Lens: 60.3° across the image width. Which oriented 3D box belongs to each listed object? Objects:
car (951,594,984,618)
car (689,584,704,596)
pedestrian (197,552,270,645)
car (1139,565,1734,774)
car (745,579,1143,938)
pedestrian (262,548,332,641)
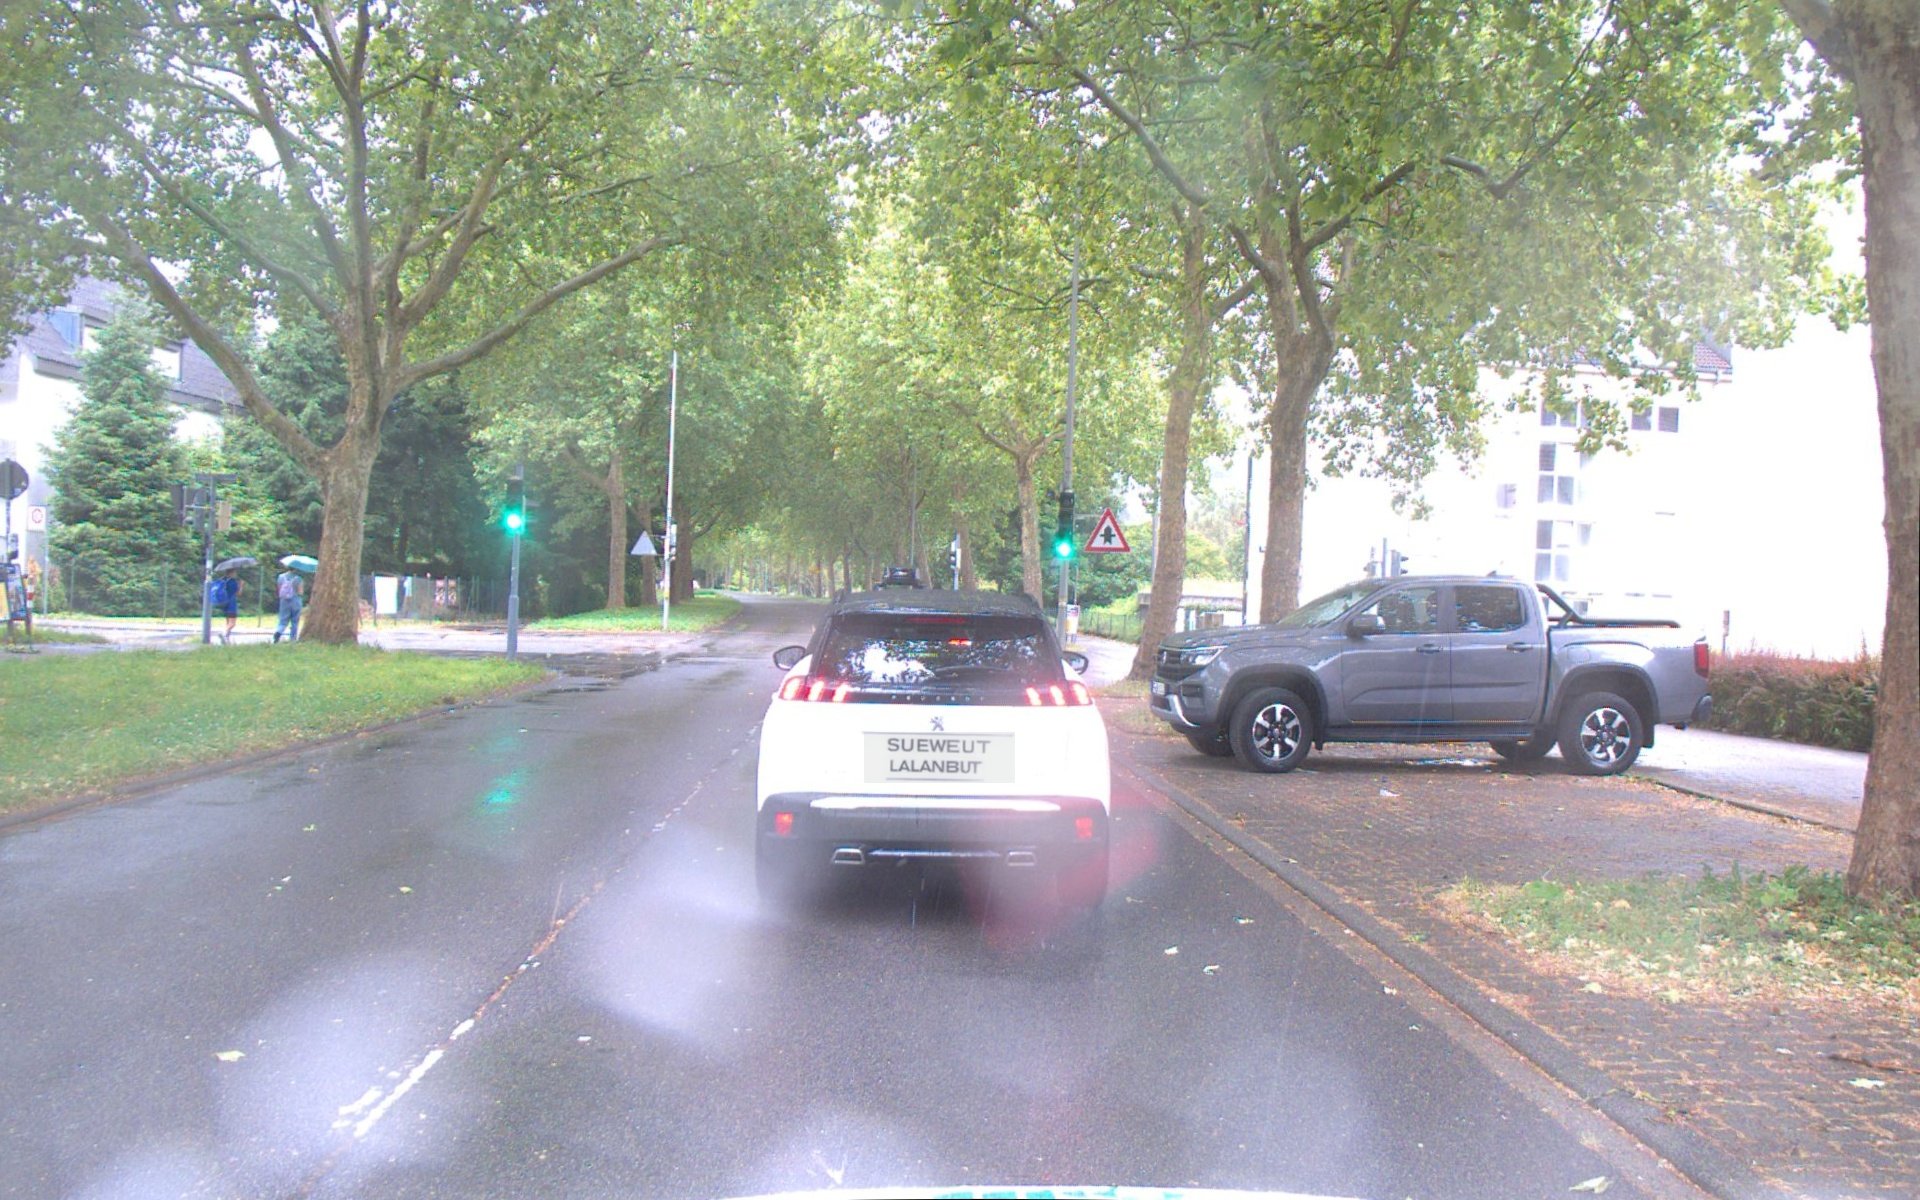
[{"bbox_3d":[0.478,0.392,111.568,1.868,1.536,3.927,2,0,-5],"label":"car"},{"bbox_3d":[-39.121,-1.489,245.384,1.837,1.706,3.704,2,0,-5],"label":"car"},{"bbox_3d":[-14.245,-0.032,32.470,1.012,1.796,0.879,1,0,-1],"label":"pedestrian"},{"bbox_3d":[4.518,0.649,16.020,5.238,1.838,1.842,1,0,-8],"label":"car"},{"bbox_3d":[-0.110,0.694,9.409,1.744,1.563,4.056,1,0,-1],"label":"car"},{"bbox_3d":[-13.037,-0.110,32.531,1.012,1.796,0.838,1,0,-1],"label":"pedestrian"}]
